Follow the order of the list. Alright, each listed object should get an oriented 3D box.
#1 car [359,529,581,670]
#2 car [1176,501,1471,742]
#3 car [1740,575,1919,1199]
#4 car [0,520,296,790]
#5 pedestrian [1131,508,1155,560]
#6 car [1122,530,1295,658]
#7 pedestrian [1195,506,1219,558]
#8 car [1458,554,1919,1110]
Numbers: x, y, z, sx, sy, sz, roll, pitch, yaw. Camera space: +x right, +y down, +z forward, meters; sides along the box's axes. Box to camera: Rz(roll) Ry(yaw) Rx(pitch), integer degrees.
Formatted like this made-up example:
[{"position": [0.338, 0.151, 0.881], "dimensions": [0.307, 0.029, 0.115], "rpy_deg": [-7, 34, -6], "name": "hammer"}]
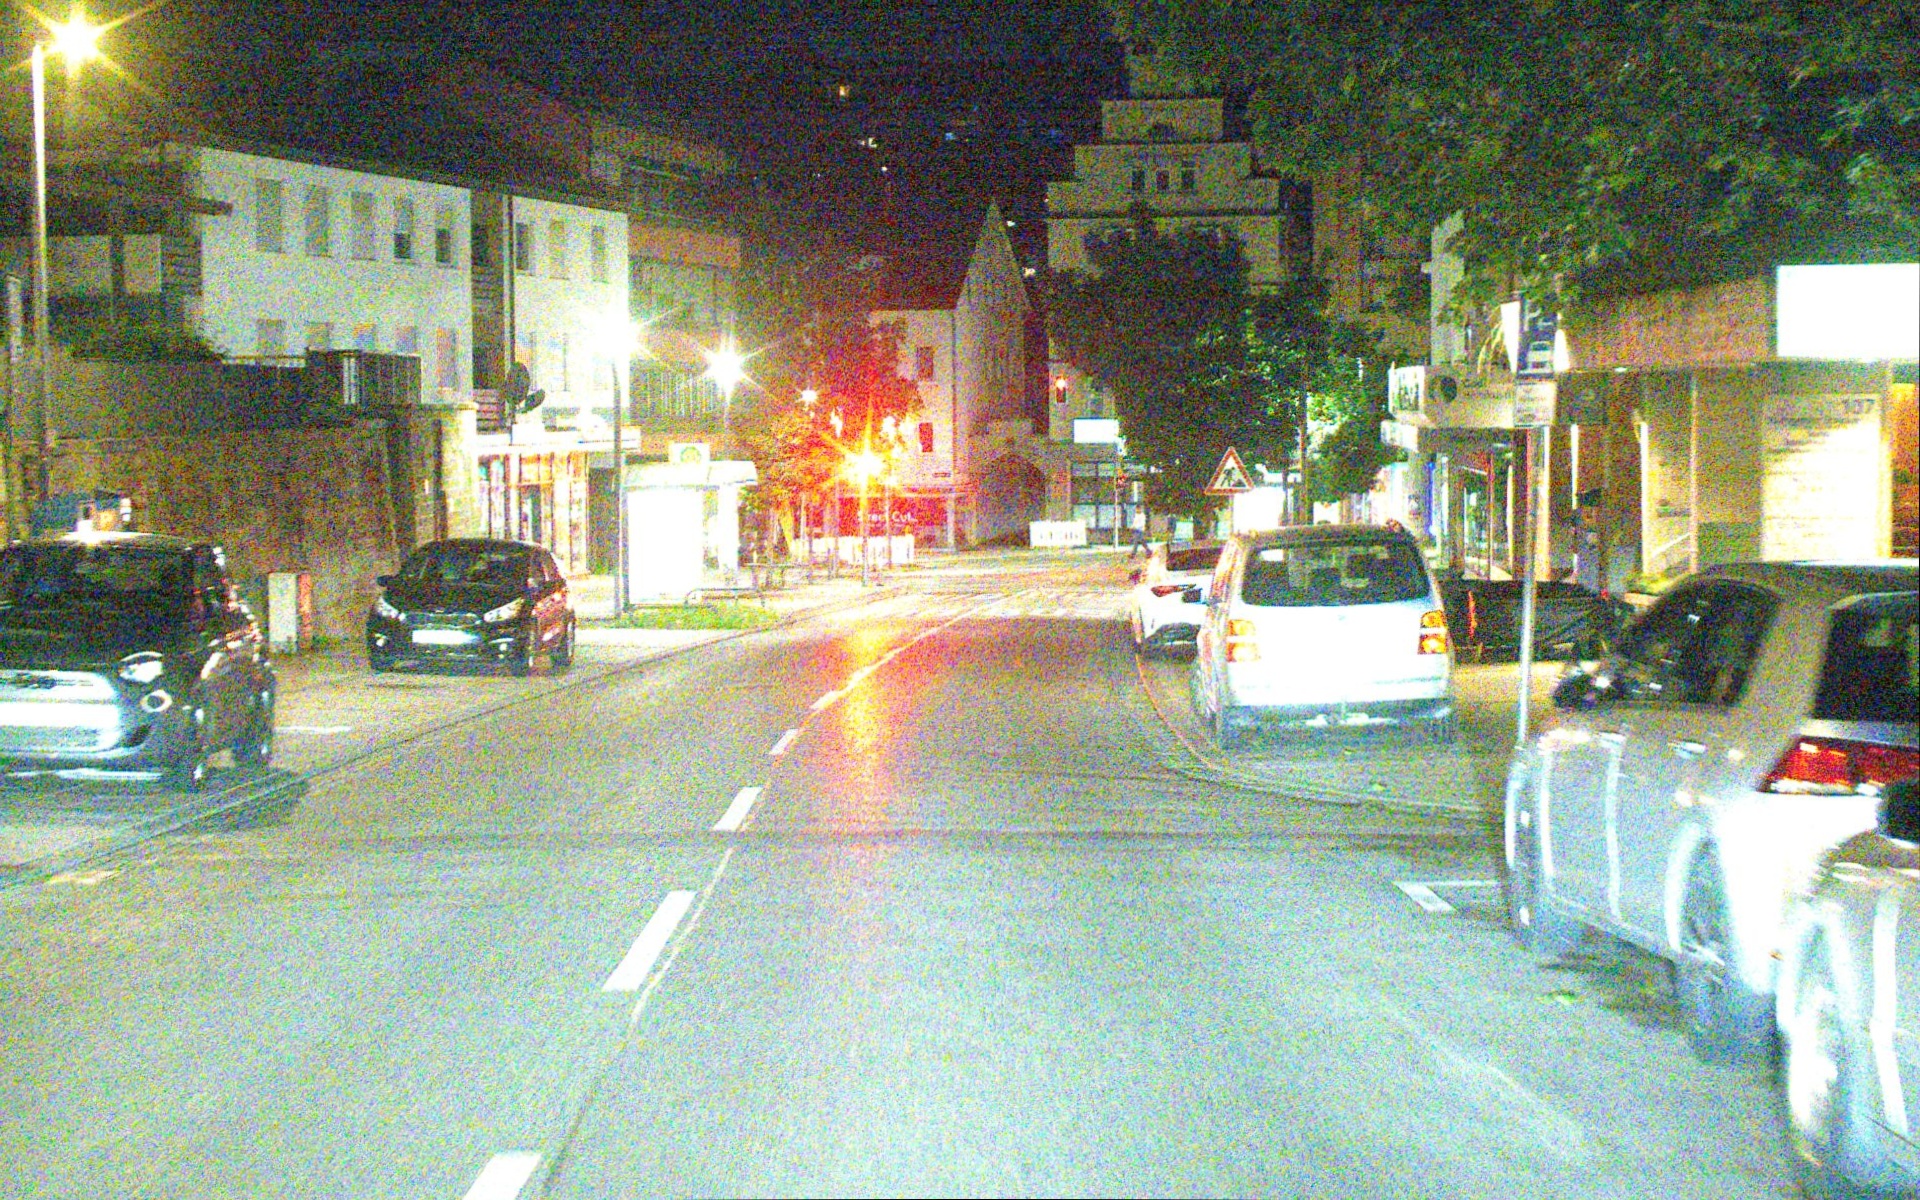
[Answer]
[{"position": [-5.425, -0.045, 38.534], "dimensions": [1.692, 1.432, 4.128], "rpy_deg": [2, 1, 3], "name": "car"}, {"position": [2.687, 0.106, 26.291], "dimensions": [1.787, 1.636, 4.380], "rpy_deg": [-2, 1, 1], "name": "car"}, {"position": [2.692, 0.726, 6.113], "dimensions": [1.676, 1.442, 4.611], "rpy_deg": [1, 1, 2], "name": "car"}, {"position": [-5.297, 0.303, 21.346], "dimensions": [1.691, 1.518, 3.691], "rpy_deg": [1, 0, -1], "name": "car"}, {"position": [6.330, -2.275, 118.892], "dimensions": [0.716, 1.789, 0.569], "rpy_deg": [1, 0, 12], "name": "pedestrian"}, {"position": [3.002, -0.109, 42.302], "dimensions": [1.857, 1.437, 4.594], "rpy_deg": [-2, 1, 1], "name": "car"}, {"position": [8.576, -2.372, 119.452], "dimensions": [0.716, 1.789, 0.737], "rpy_deg": [1, 0, 12], "name": "pedestrian"}, {"position": [2.908, 0.602, 11.264], "dimensions": [1.780, 1.432, 4.290], "rpy_deg": [1, 1, -2], "name": "car"}]
